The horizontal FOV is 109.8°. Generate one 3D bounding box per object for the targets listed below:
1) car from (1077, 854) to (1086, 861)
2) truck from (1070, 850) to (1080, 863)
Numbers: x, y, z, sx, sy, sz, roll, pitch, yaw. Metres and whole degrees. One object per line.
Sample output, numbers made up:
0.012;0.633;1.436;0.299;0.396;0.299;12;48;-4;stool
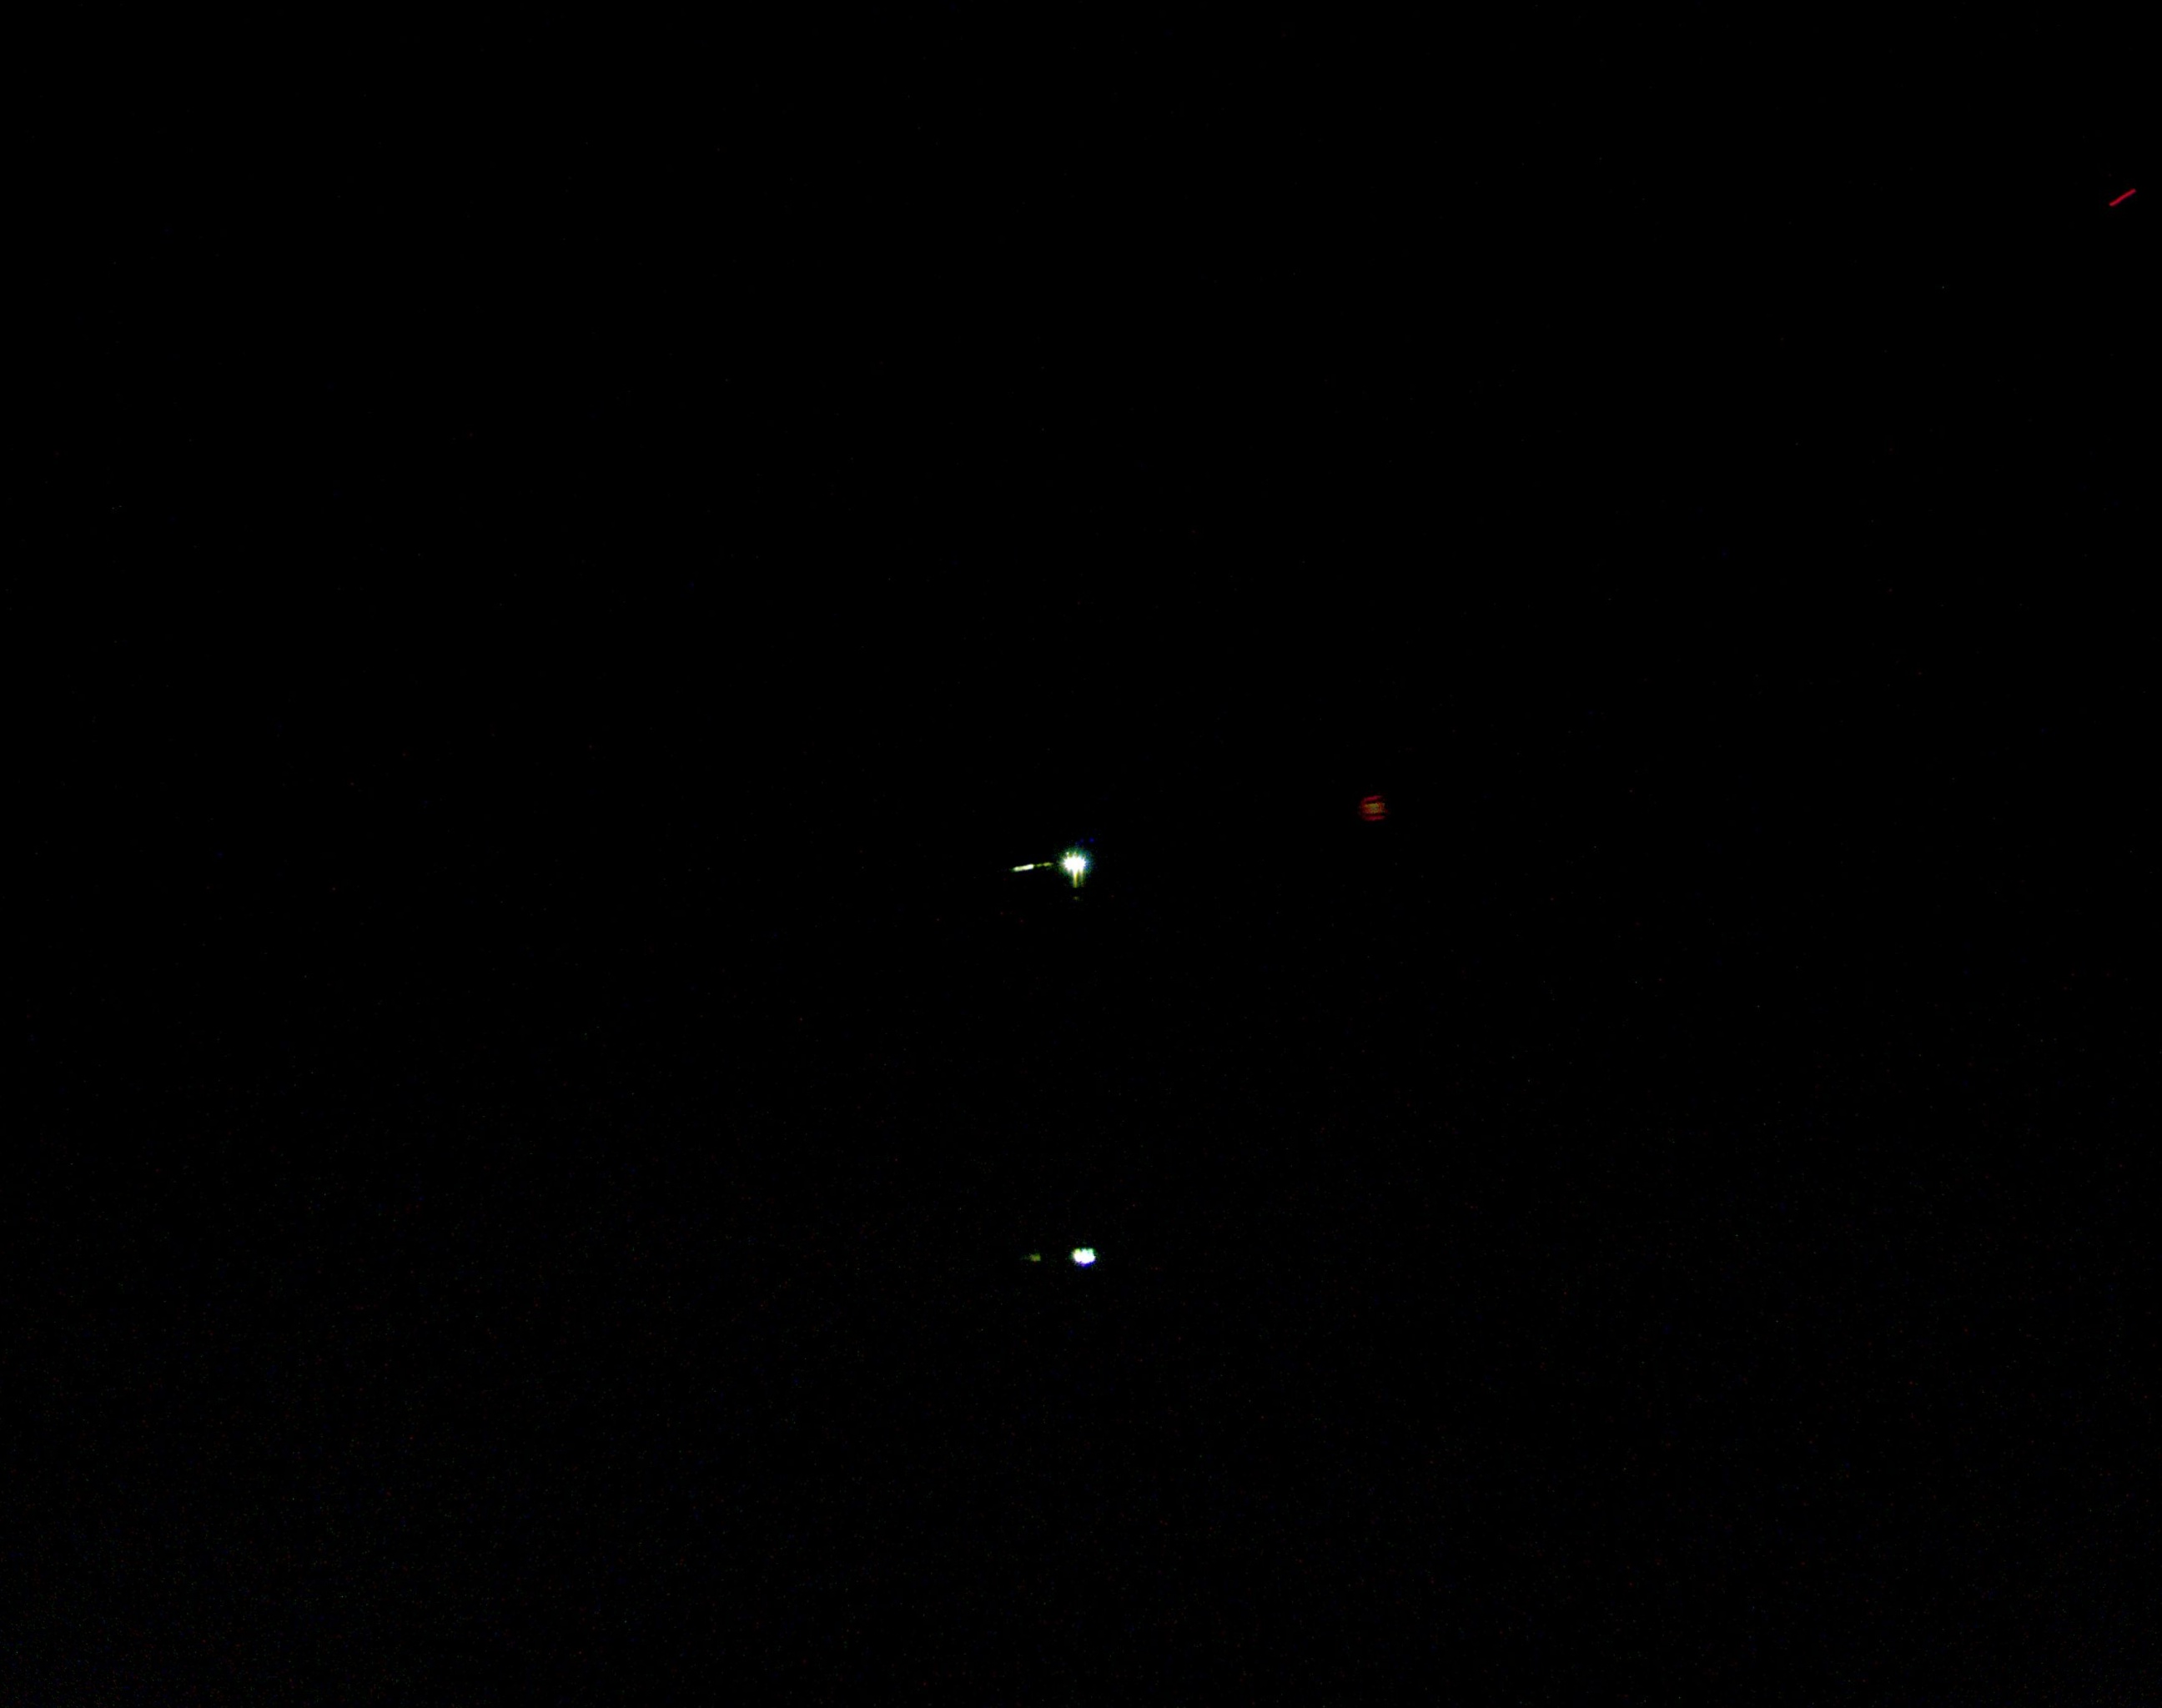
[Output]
0.084;0.860;177.349;1.846;1.474;4.293;-3;-1;1;car
-1.880;0.772;243.499;3.004;3.876;12.888;-3;-1;-1;truck
